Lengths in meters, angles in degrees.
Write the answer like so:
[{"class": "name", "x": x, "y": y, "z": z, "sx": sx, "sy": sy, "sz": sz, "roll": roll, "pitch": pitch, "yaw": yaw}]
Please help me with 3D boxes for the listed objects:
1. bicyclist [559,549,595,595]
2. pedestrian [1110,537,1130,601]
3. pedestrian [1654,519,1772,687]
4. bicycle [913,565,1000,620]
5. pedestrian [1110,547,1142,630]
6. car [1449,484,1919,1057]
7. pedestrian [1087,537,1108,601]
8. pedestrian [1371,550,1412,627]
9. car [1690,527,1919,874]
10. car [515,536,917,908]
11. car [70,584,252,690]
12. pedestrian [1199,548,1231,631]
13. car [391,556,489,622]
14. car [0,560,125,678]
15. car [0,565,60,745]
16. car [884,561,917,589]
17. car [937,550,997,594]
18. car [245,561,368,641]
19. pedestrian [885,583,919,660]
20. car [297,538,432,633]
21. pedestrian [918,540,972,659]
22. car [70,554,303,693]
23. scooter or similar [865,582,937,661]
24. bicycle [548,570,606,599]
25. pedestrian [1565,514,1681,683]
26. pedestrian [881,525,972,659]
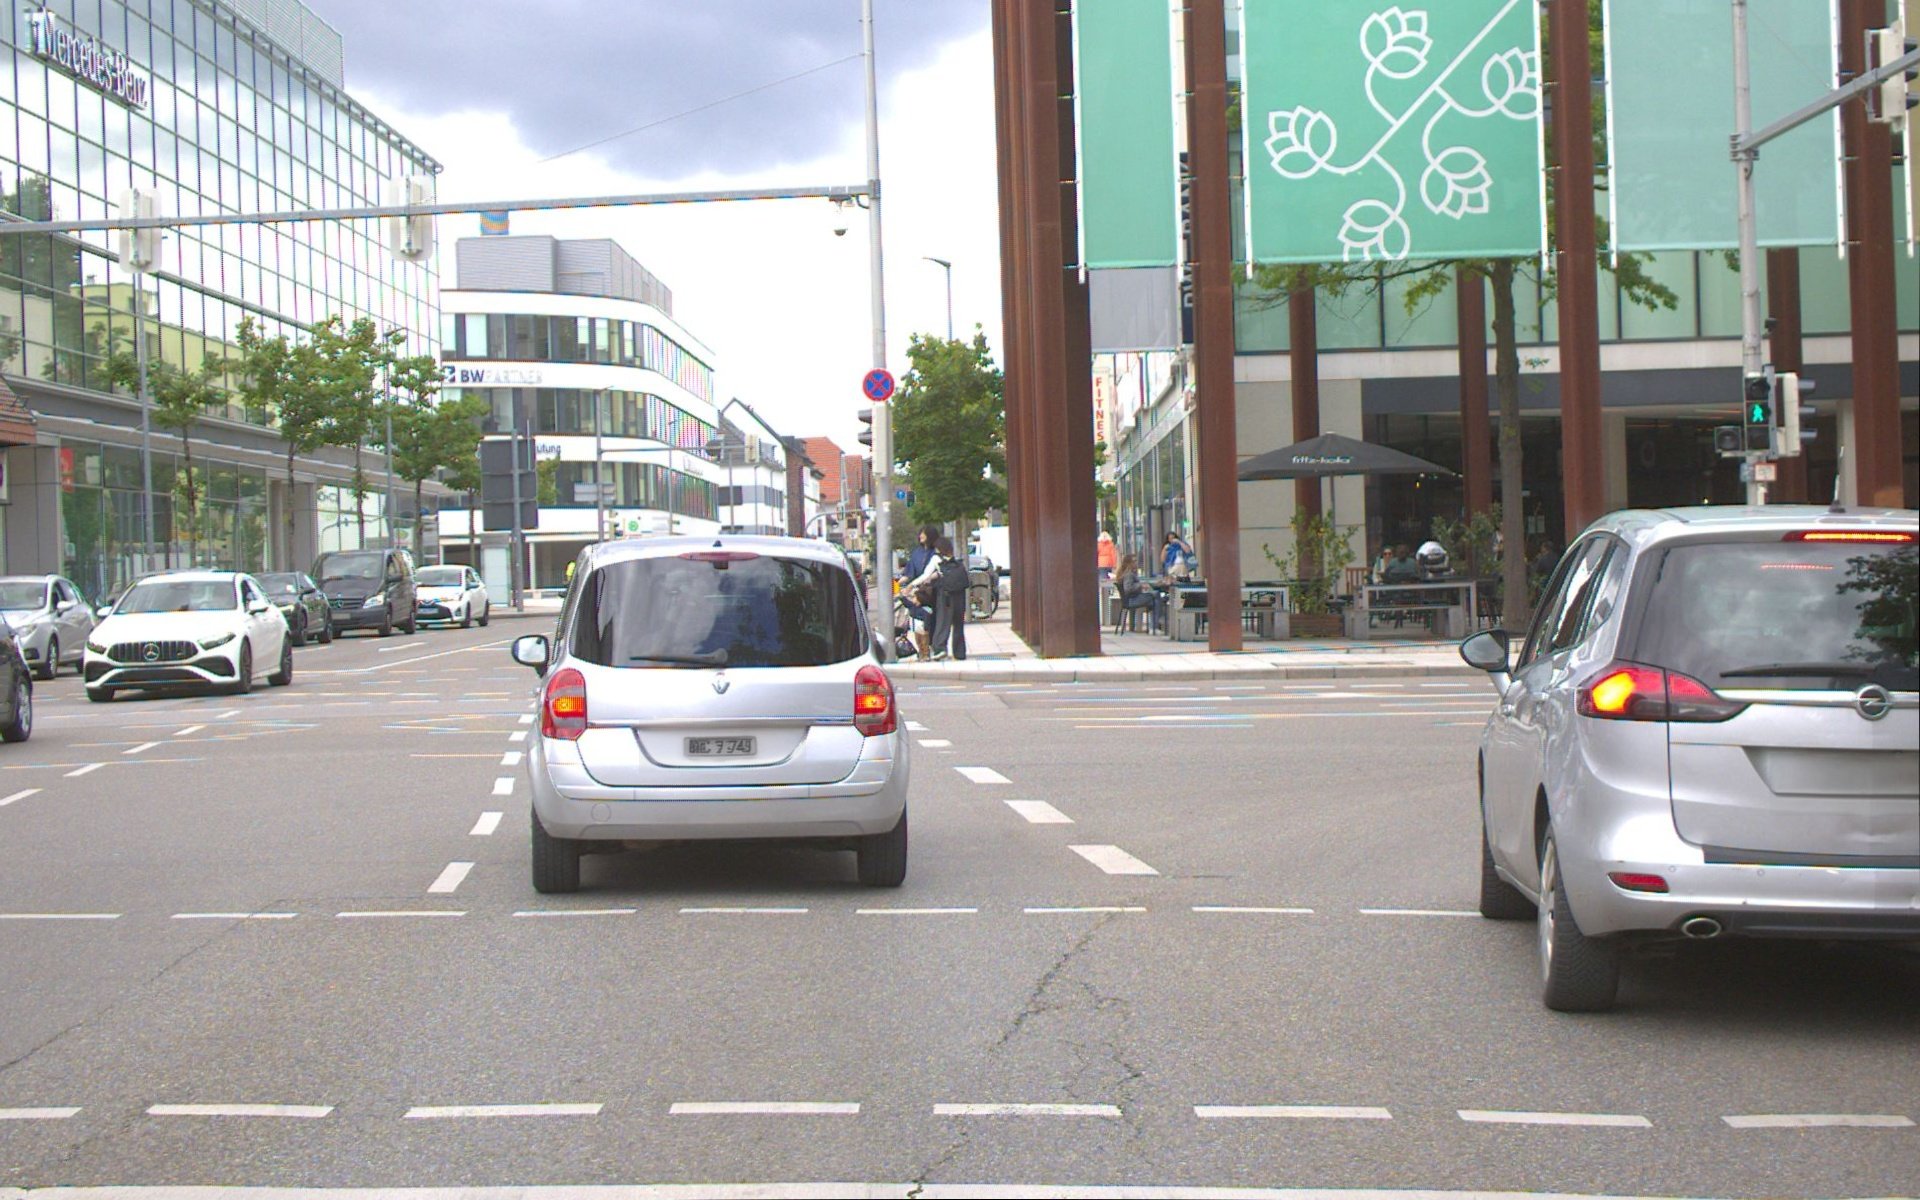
[{"class": "bicyclist", "x": -13.758, "y": -1.014, "z": 123.523, "sx": 1.006, "sy": 1.655, "sz": 0.933, "roll": 1, "pitch": 0, "yaw": -27}, {"class": "pedestrian", "x": 3.889, "y": -0.746, "z": 83.471, "sx": 0.427, "sy": 1.544, "sz": 0.481, "roll": -1, "pitch": 1, "yaw": -2}, {"class": "pedestrian", "x": 7.694, "y": 0.023, "z": 35.171, "sx": 0.878, "sy": 1.675, "sz": 1.120, "roll": -2, "pitch": 1, "yaw": -3}, {"class": "bicycle", "x": -0.065, "y": -0.138, "z": 64.584, "sx": 1.561, "sy": 0.989, "sz": 0.752, "roll": -1, "pitch": 1, "yaw": 4}, {"class": "pedestrian", "x": 2.460, "y": -0.169, "z": 51.093, "sx": 0.447, "sy": 1.216, "sz": 0.606, "roll": -1, "pitch": 1, "yaw": 3}, {"class": "car", "x": 2.810, "y": 0.478, "z": 12.420, "sx": 1.740, "sy": 1.695, "sz": 4.380, "roll": 1, "pitch": 1, "yaw": 4}, {"class": "pedestrian", "x": 3.338, "y": -0.750, "z": 83.495, "sx": 0.427, "sy": 1.544, "sz": 0.481, "roll": -1, "pitch": 1, "yaw": -2}, {"class": "pedestrian", "x": 6.935, "y": -0.185, "z": 55.268, "sx": 0.515, "sy": 1.204, "sz": 0.796, "roll": -1, "pitch": 2, "yaw": -2}, {"class": "car", "x": 5.104, "y": 0.423, "z": 18.260, "sx": 1.853, "sy": 1.603, "sz": 4.857, "roll": 1, "pitch": 1, "yaw": 18}, {"class": "car", "x": -1.107, "y": 0.483, "z": 16.248, "sx": 1.669, "sy": 1.549, "sz": 3.642, "roll": 1, "pitch": 1, "yaw": -3}, {"class": "car", "x": -13.247, "y": 0.587, "z": 57.273, "sx": 1.759, "sy": 1.512, "sz": 4.387, "roll": -3, "pitch": 1, "yaw": 3}, {"class": "pedestrian", "x": 3.786, "y": -0.158, "z": 51.008, "sx": 0.447, "sy": 1.216, "sz": 0.606, "roll": -1, "pitch": 1, "yaw": 4}, {"class": "car", "x": -12.406, "y": -0.292, "z": 82.264, "sx": 1.660, "sy": 1.460, "sz": 4.000, "roll": -2, "pitch": 1, "yaw": 0}, {"class": "car", "x": -13.025, "y": 0.257, "z": 47.974, "sx": 1.635, "sy": 1.413, "sz": 4.199, "roll": -3, "pitch": 2, "yaw": 0}, {"class": "car", "x": -8.767, "y": 0.495, "z": 28.133, "sx": 1.744, "sy": 1.454, "sz": 3.818, "roll": -2, "pitch": 1, "yaw": 0}, {"class": "car", "x": -3.329, "y": -1.388, "z": 192.417, "sx": 1.660, "sy": 1.460, "sz": 4.000, "roll": -2, "pitch": 1, "yaw": 0}, {"class": "car", "x": 0.236, "y": -0.889, "z": 108.676, "sx": 1.877, "sy": 1.330, "sz": 4.000, "roll": 1, "pitch": 1, "yaw": 1}, {"class": "car", "x": -12.494, "y": -0.011, "z": 65.931, "sx": 1.702, "sy": 1.438, "sz": 4.000, "roll": -1, "pitch": 1, "yaw": -2}, {"class": "pedestrian", "x": -0.701, "y": 0.259, "z": 41.631, "sx": 0.362, "sy": 0.921, "sz": 0.454, "roll": -1, "pitch": 1, "yaw": 2}, {"class": "car", "x": -12.823, "y": -0.351, "z": 74.300, "sx": 1.865, "sy": 1.903, "sz": 5.114, "roll": -2, "pitch": 1, "yaw": 1}, {"class": "pedestrian", "x": -0.184, "y": -0.007, "z": 41.613, "sx": 0.601, "sy": 1.415, "sz": 0.582, "roll": -1, "pitch": 1, "yaw": 2}, {"class": "car", "x": -9.019, "y": 0.238, "z": 40.388, "sx": 1.744, "sy": 1.454, "sz": 4.235, "roll": -2, "pitch": 1, "yaw": 0}, {"class": "scooter or similar", "x": -0.727, "y": 0.263, "z": 42.327, "sx": 0.634, "sy": 0.958, "sz": 0.619, "roll": -1, "pitch": 1, "yaw": 34}, {"class": "bicycle", "x": -13.763, "y": -0.556, "z": 123.537, "sx": 1.006, "sy": 1.015, "sz": 3.130, "roll": 1, "pitch": 0, "yaw": -27}, {"class": "pedestrian", "x": 6.736, "y": -0.024, "z": 34.981, "sx": 0.878, "sy": 1.675, "sz": 1.120, "roll": -2, "pitch": 1, "yaw": -3}, {"class": "pedestrian", "x": -0.413, "y": -0.104, "z": 42.884, "sx": 0.871, "sy": 1.641, "sz": 0.679, "roll": 0, "pitch": 1, "yaw": 35}]
